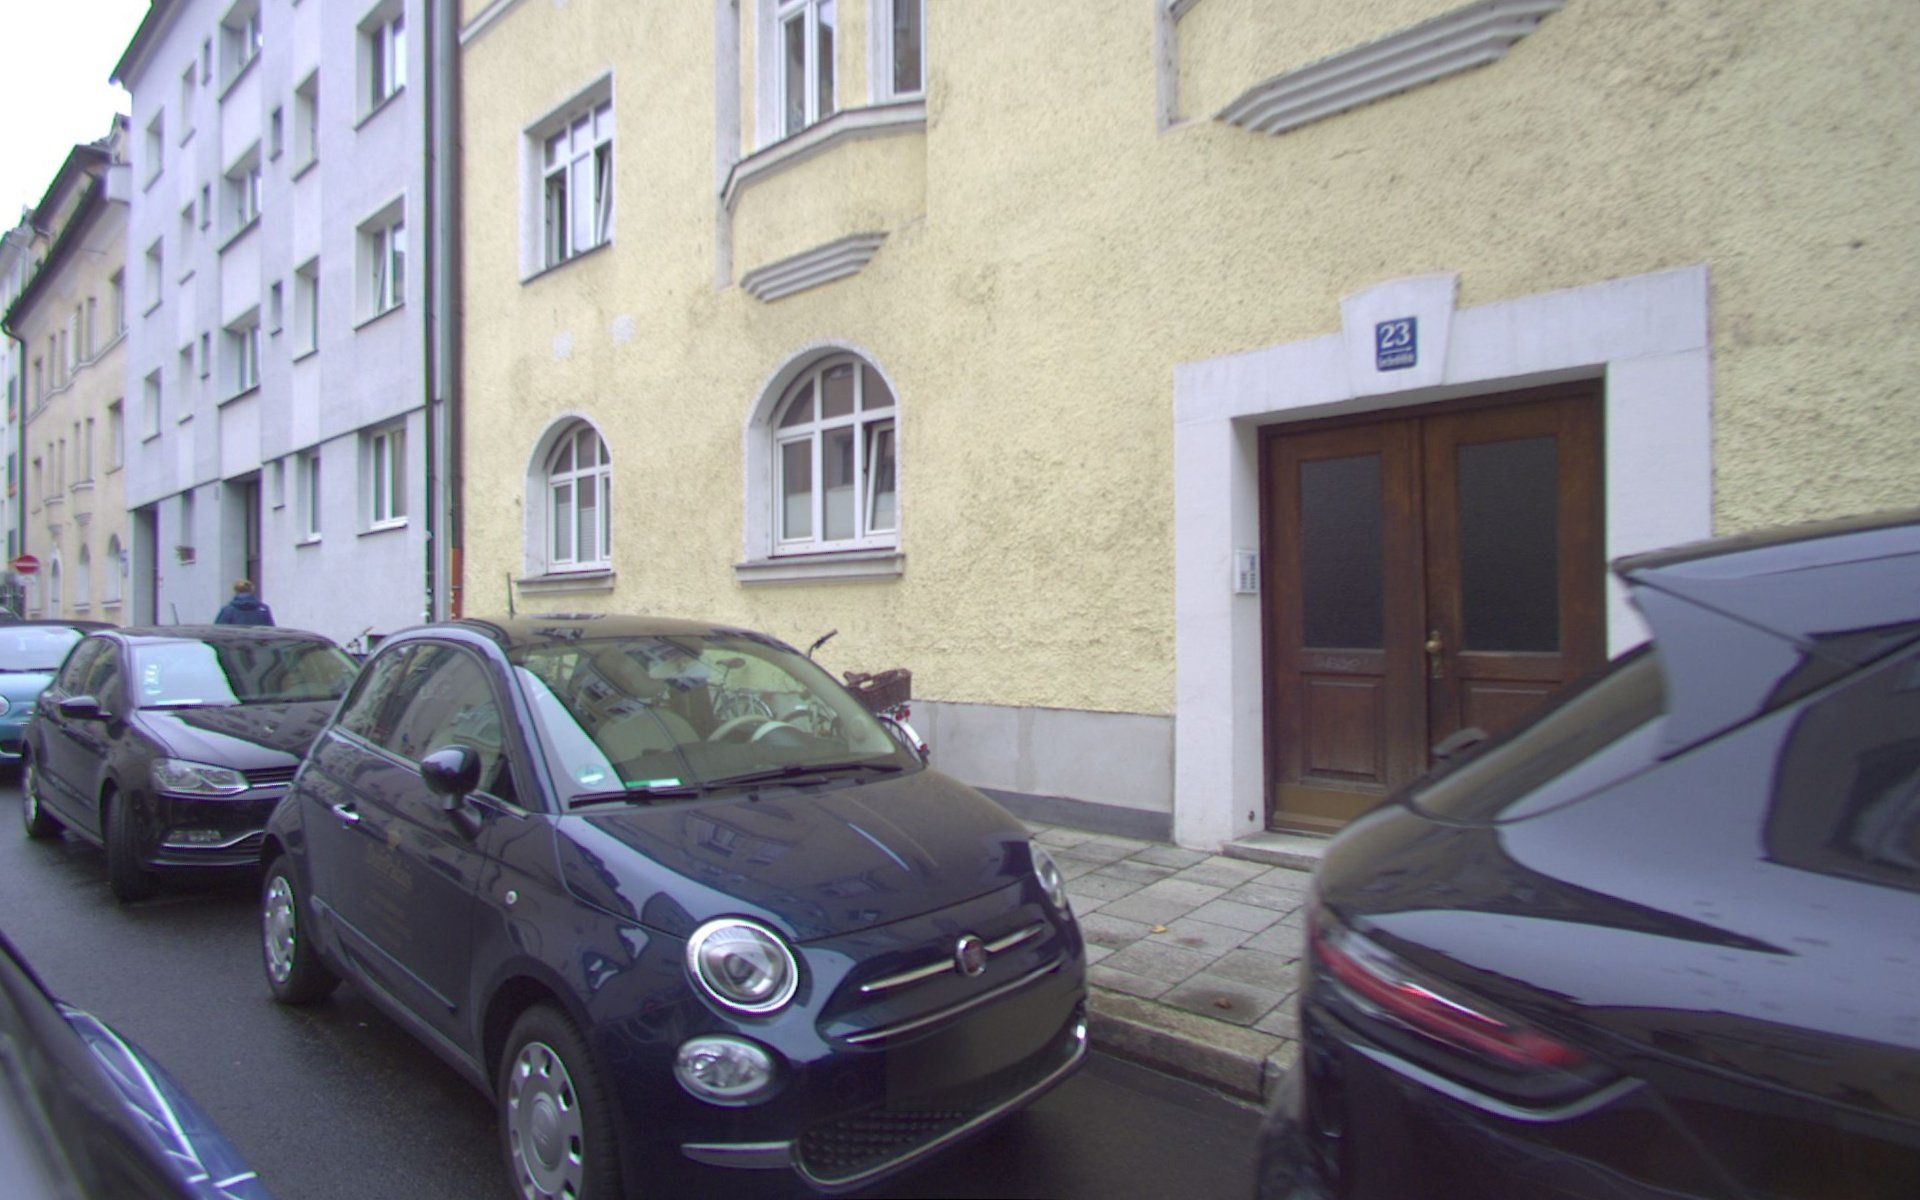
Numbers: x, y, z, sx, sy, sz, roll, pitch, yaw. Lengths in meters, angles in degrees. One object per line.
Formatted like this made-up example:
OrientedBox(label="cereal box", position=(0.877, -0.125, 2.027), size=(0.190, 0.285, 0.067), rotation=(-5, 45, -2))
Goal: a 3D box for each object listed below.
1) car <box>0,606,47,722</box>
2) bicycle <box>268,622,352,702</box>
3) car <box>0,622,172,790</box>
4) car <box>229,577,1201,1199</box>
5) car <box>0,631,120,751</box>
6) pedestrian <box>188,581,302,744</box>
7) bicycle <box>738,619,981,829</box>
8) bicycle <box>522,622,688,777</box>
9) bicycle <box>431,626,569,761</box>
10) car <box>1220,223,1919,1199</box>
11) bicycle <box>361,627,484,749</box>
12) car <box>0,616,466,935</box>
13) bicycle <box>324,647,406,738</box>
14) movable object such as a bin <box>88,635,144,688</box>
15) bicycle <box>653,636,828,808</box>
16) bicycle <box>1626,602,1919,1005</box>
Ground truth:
OrientedBox(label="car", position=(-16.953, 0.999, 16.860), size=(4.731, 1.783, 1.844), rotation=(-1, -3, 39))
OrientedBox(label="bicycle", position=(-8.962, 0.827, 13.932), size=(1.569, 1.038, 0.540), rotation=(-1, -1, 41))
OrientedBox(label="car", position=(-9.410, 0.973, 10.375), size=(3.404, 1.471, 1.546), rotation=(-1, -2, 43))
OrientedBox(label="car", position=(-1.118, 0.745, 3.456), size=(3.475, 1.471, 1.546), rotation=(-1, -2, 42))
OrientedBox(label="car", position=(-13.008, 1.131, 13.645), size=(4.247, 1.397, 1.793), rotation=(-1, -3, 40))
OrientedBox(label="pedestrian", position=(-8.293, 0.687, 11.731), size=(1.067, 1.778, 0.830), rotation=(-2, -1, 40))
OrientedBox(label="bicycle", position=(-0.719, 0.755, 6.843), size=(1.735, 1.243, 0.587), rotation=(-1, -1, 40))
OrientedBox(label="bicycle", position=(-3.180, 0.821, 8.989), size=(1.735, 1.243, 0.587), rotation=(-1, -1, 40))
OrientedBox(label="bicycle", position=(-4.680, 0.892, 10.247), size=(1.735, 1.243, 0.587), rotation=(-1, -1, 40))
OrientedBox(label="car", position=(2.508, 0.571, 0.207), size=(4.414, 1.672, 1.859), rotation=(-1, -2, 42))
OrientedBox(label="bicycle", position=(-6.021, 0.934, 11.296), size=(1.735, 1.243, 0.630), rotation=(-1, -1, 41))
OrientedBox(label="car", position=(-4.824, 0.862, 6.501), size=(3.760, 1.471, 1.547), rotation=(-1, -2, 40))
OrientedBox(label="bicycle", position=(-7.440, 1.127, 12.628), size=(1.569, 1.038, 0.391), rotation=(-1, -1, 41))
OrientedBox(label="movable object such as a bin", position=(-18.578, 1.343, 22.271), size=(0.622, 1.059, 0.799), rotation=(-1, 2, 40))
OrientedBox(label="bicycle", position=(-1.759, 0.901, 7.957), size=(1.631, 1.199, 0.434), rotation=(-1, -1, 40))
OrientedBox(label="bicycle", position=(3.262, 0.663, 3.488), size=(1.550, 1.288, 0.529), rotation=(-1, 1, 40))
